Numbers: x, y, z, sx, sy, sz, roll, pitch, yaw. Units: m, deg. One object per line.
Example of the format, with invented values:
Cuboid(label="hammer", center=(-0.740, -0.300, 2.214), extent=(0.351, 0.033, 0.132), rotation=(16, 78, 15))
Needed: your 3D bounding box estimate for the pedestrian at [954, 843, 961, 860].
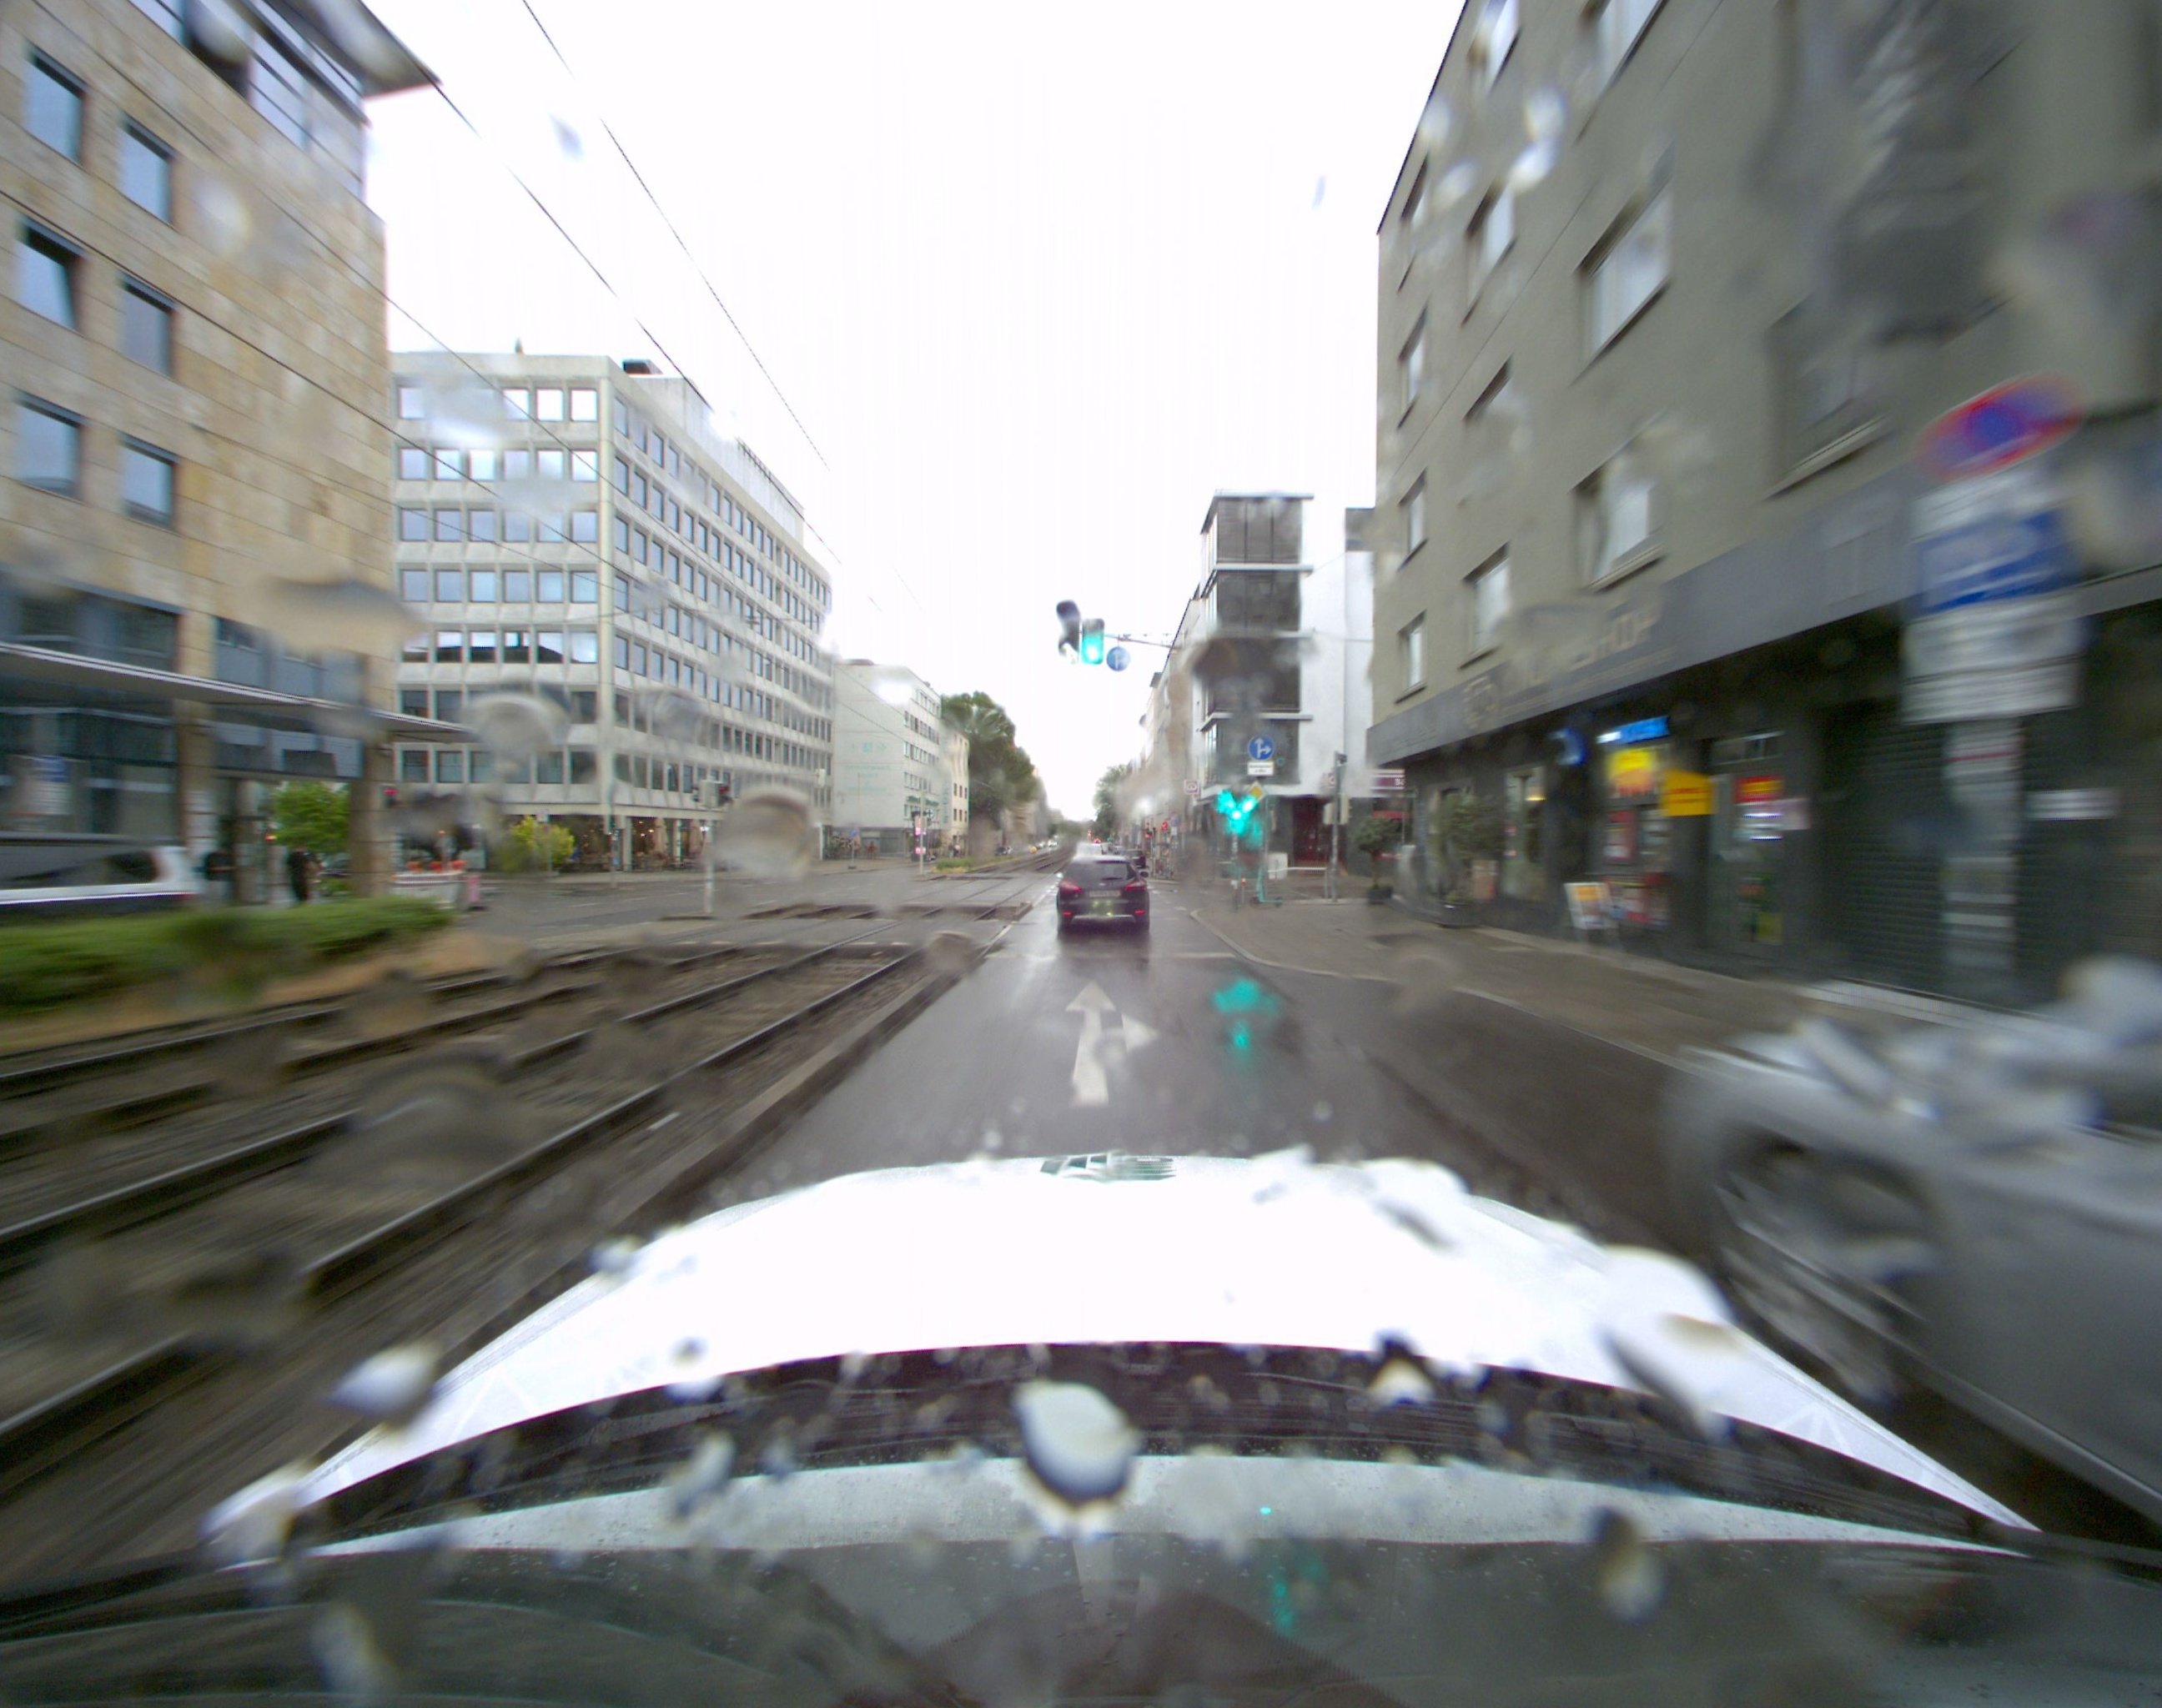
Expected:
Cuboid(label="pedestrian", center=(-14.294, -0.270, 94.261), extent=(0.676, 1.896, 0.743), rotation=(1, 0, 1))

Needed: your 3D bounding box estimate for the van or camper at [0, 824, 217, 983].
Cuboid(label="van or camper", center=(-14.573, 0.611, 10.109), extent=(2.009, 1.997, 5.199), rotation=(0, -1, 1))

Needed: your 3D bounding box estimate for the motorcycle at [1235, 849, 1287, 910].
Cuboid(label="motorcycle", center=(4.472, 0.606, 20.234), extent=(1.137, 1.461, 0.676), rotation=(0, 0, -35))

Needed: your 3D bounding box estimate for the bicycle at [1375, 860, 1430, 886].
Cuboid(label="bicycle", center=(13.050, 0.767, 33.094), extent=(1.920, 1.010, 0.755), rotation=(0, 0, -1))

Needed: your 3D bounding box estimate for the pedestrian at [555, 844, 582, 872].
Cuboid(label="pedestrian", center=(-28.732, 0.202, 45.658), extent=(0.958, 1.532, 0.897), rotation=(0, 1, 1))

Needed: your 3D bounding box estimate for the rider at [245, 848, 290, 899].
Cuboid(label="rider", center=(-27.531, 0.654, 27.568), extent=(0.706, 1.675, 0.784), rotation=(0, 1, 1))

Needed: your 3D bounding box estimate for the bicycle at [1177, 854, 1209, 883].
Cuboid(label="bicycle", center=(5.105, 0.646, 37.245), extent=(0.499, 1.259, 1.941), rotation=(1, 0, -23))

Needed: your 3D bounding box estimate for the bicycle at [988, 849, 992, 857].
Cuboid(label="bicycle", center=(-12.729, -0.140, 114.057), extent=(0.590, 1.226, 2.399), rotation=(1, 0, -6))

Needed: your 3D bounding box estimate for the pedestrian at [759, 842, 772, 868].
Cuboid(label="pedestrian", center=(-21.976, 0.083, 56.779), extent=(0.563, 1.822, 0.843), rotation=(1, 0, -3))

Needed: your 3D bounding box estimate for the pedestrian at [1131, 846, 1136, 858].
Cuboid(label="pedestrian", center=(7.599, -0.304, 118.741), extent=(0.659, 1.852, 0.821), rotation=(0, 1, 0))

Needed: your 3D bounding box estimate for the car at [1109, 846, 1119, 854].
Cuboid(label="car", center=(6.425, -0.699, 157.554), extent=(1.733, 1.489, 4.000), rotation=(0, 1, 0))

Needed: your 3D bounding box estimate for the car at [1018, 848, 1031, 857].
Cuboid(label="car", center=(-10.397, -0.277, 150.167), extent=(1.986, 1.519, 4.436), rotation=(1, 1, 1))

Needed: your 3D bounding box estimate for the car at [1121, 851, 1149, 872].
Cuboid(label="car", center=(4.156, 0.580, 62.931), extent=(1.986, 1.594, 4.273), rotation=(0, 0, 2))

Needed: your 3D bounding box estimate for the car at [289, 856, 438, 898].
Cuboid(label="car", center=(-27.537, 0.865, 31.351), extent=(3.976, 1.530, 1.890), rotation=(0, 1, -2))

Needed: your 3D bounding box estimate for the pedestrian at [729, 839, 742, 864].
Cuboid(label="pedestrian", center=(-24.203, -0.168, 57.116), extent=(0.563, 1.748, 0.843), rotation=(1, 0, -3))

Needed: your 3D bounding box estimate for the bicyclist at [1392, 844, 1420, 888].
Cuboid(label="bicyclist", center=(13.181, 0.475, 33.052), extent=(0.837, 1.746, 0.756), rotation=(0, 0, -1))

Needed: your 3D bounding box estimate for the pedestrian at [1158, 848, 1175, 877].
Cuboid(label="pedestrian", center=(4.744, 0.467, 45.116), extent=(0.662, 1.582, 0.774), rotation=(0, 0, -21))

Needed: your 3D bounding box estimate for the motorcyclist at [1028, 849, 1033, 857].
Cuboid(label="motorcyclist", center=(-7.964, -0.174, 129.053), extent=(0.738, 1.217, 0.971), rotation=(1, 0, 3))

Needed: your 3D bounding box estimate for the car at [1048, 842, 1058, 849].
Cuboid(label="car", center=(-6.373, -1.885, 188.240), extent=(1.986, 1.519, 4.445), rotation=(1, -1, 1))

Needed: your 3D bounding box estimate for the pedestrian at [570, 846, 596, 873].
Cuboid(label="pedestrian", center=(-28.785, 0.317, 47.071), extent=(0.891, 1.532, 0.965), rotation=(0, 1, -1))

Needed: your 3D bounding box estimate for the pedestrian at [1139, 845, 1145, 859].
Cuboid(label="pedestrian", center=(8.937, -0.279, 118.936), extent=(0.733, 2.013, 0.821), rotation=(0, 1, 0))

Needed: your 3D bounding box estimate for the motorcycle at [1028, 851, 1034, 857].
Cuboid(label="motorcycle", center=(-7.940, -0.008, 129.615), extent=(0.739, 1.059, 1.933), rotation=(1, 0, 3))

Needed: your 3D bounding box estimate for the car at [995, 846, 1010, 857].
Cuboid(label="car", center=(-11.240, -0.391, 116.878), extent=(1.737, 1.468, 4.221), rotation=(-1, 1, 1))

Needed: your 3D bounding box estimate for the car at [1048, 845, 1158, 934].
Cuboid(label="car", center=(0.460, 0.641, 16.847), extent=(1.986, 1.594, 4.273), rotation=(0, 0, 2))

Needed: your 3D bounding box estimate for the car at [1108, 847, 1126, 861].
Cuboid(label="car", center=(4.185, -0.024, 94.478), extent=(1.986, 1.594, 4.573), rotation=(0, 0, 2))

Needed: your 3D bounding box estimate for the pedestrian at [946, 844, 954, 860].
Cuboid(label="pedestrian", center=(-15.154, -0.229, 94.280), extent=(0.724, 1.896, 0.983), rotation=(1, 0, 1))

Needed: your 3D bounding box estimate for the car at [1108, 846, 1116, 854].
Cuboid(label="car", center=(6.164, -0.875, 162.053), extent=(1.637, 1.515, 4.039), rotation=(0, 1, 0))

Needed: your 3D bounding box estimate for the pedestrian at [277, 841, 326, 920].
Cuboid(label="pedestrian", center=(-17.938, 0.585, 18.745), extent=(0.670, 1.781, 0.708), rotation=(1, 1, 36))

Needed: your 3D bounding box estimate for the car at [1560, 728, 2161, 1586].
Cuboid(label="car", center=(3.007, 0.554, 1.105), extent=(2.017, 1.594, 4.620), rotation=(0, 0, 0))

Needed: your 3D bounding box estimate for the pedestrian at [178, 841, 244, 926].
Cuboid(label="pedestrian", center=(-18.974, 0.629, 17.767), extent=(0.698, 1.814, 0.679), rotation=(0, 1, 3))

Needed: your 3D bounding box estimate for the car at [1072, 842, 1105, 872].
Cuboid(label="car", center=(0.530, 0.204, 51.905), extent=(1.986, 1.816, 4.273), rotation=(0, 0, 2))

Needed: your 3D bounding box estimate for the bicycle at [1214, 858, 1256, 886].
Cuboid(label="bicycle", center=(6.624, 0.747, 35.174), extent=(0.580, 1.157, 1.935), rotation=(1, 0, -35))
